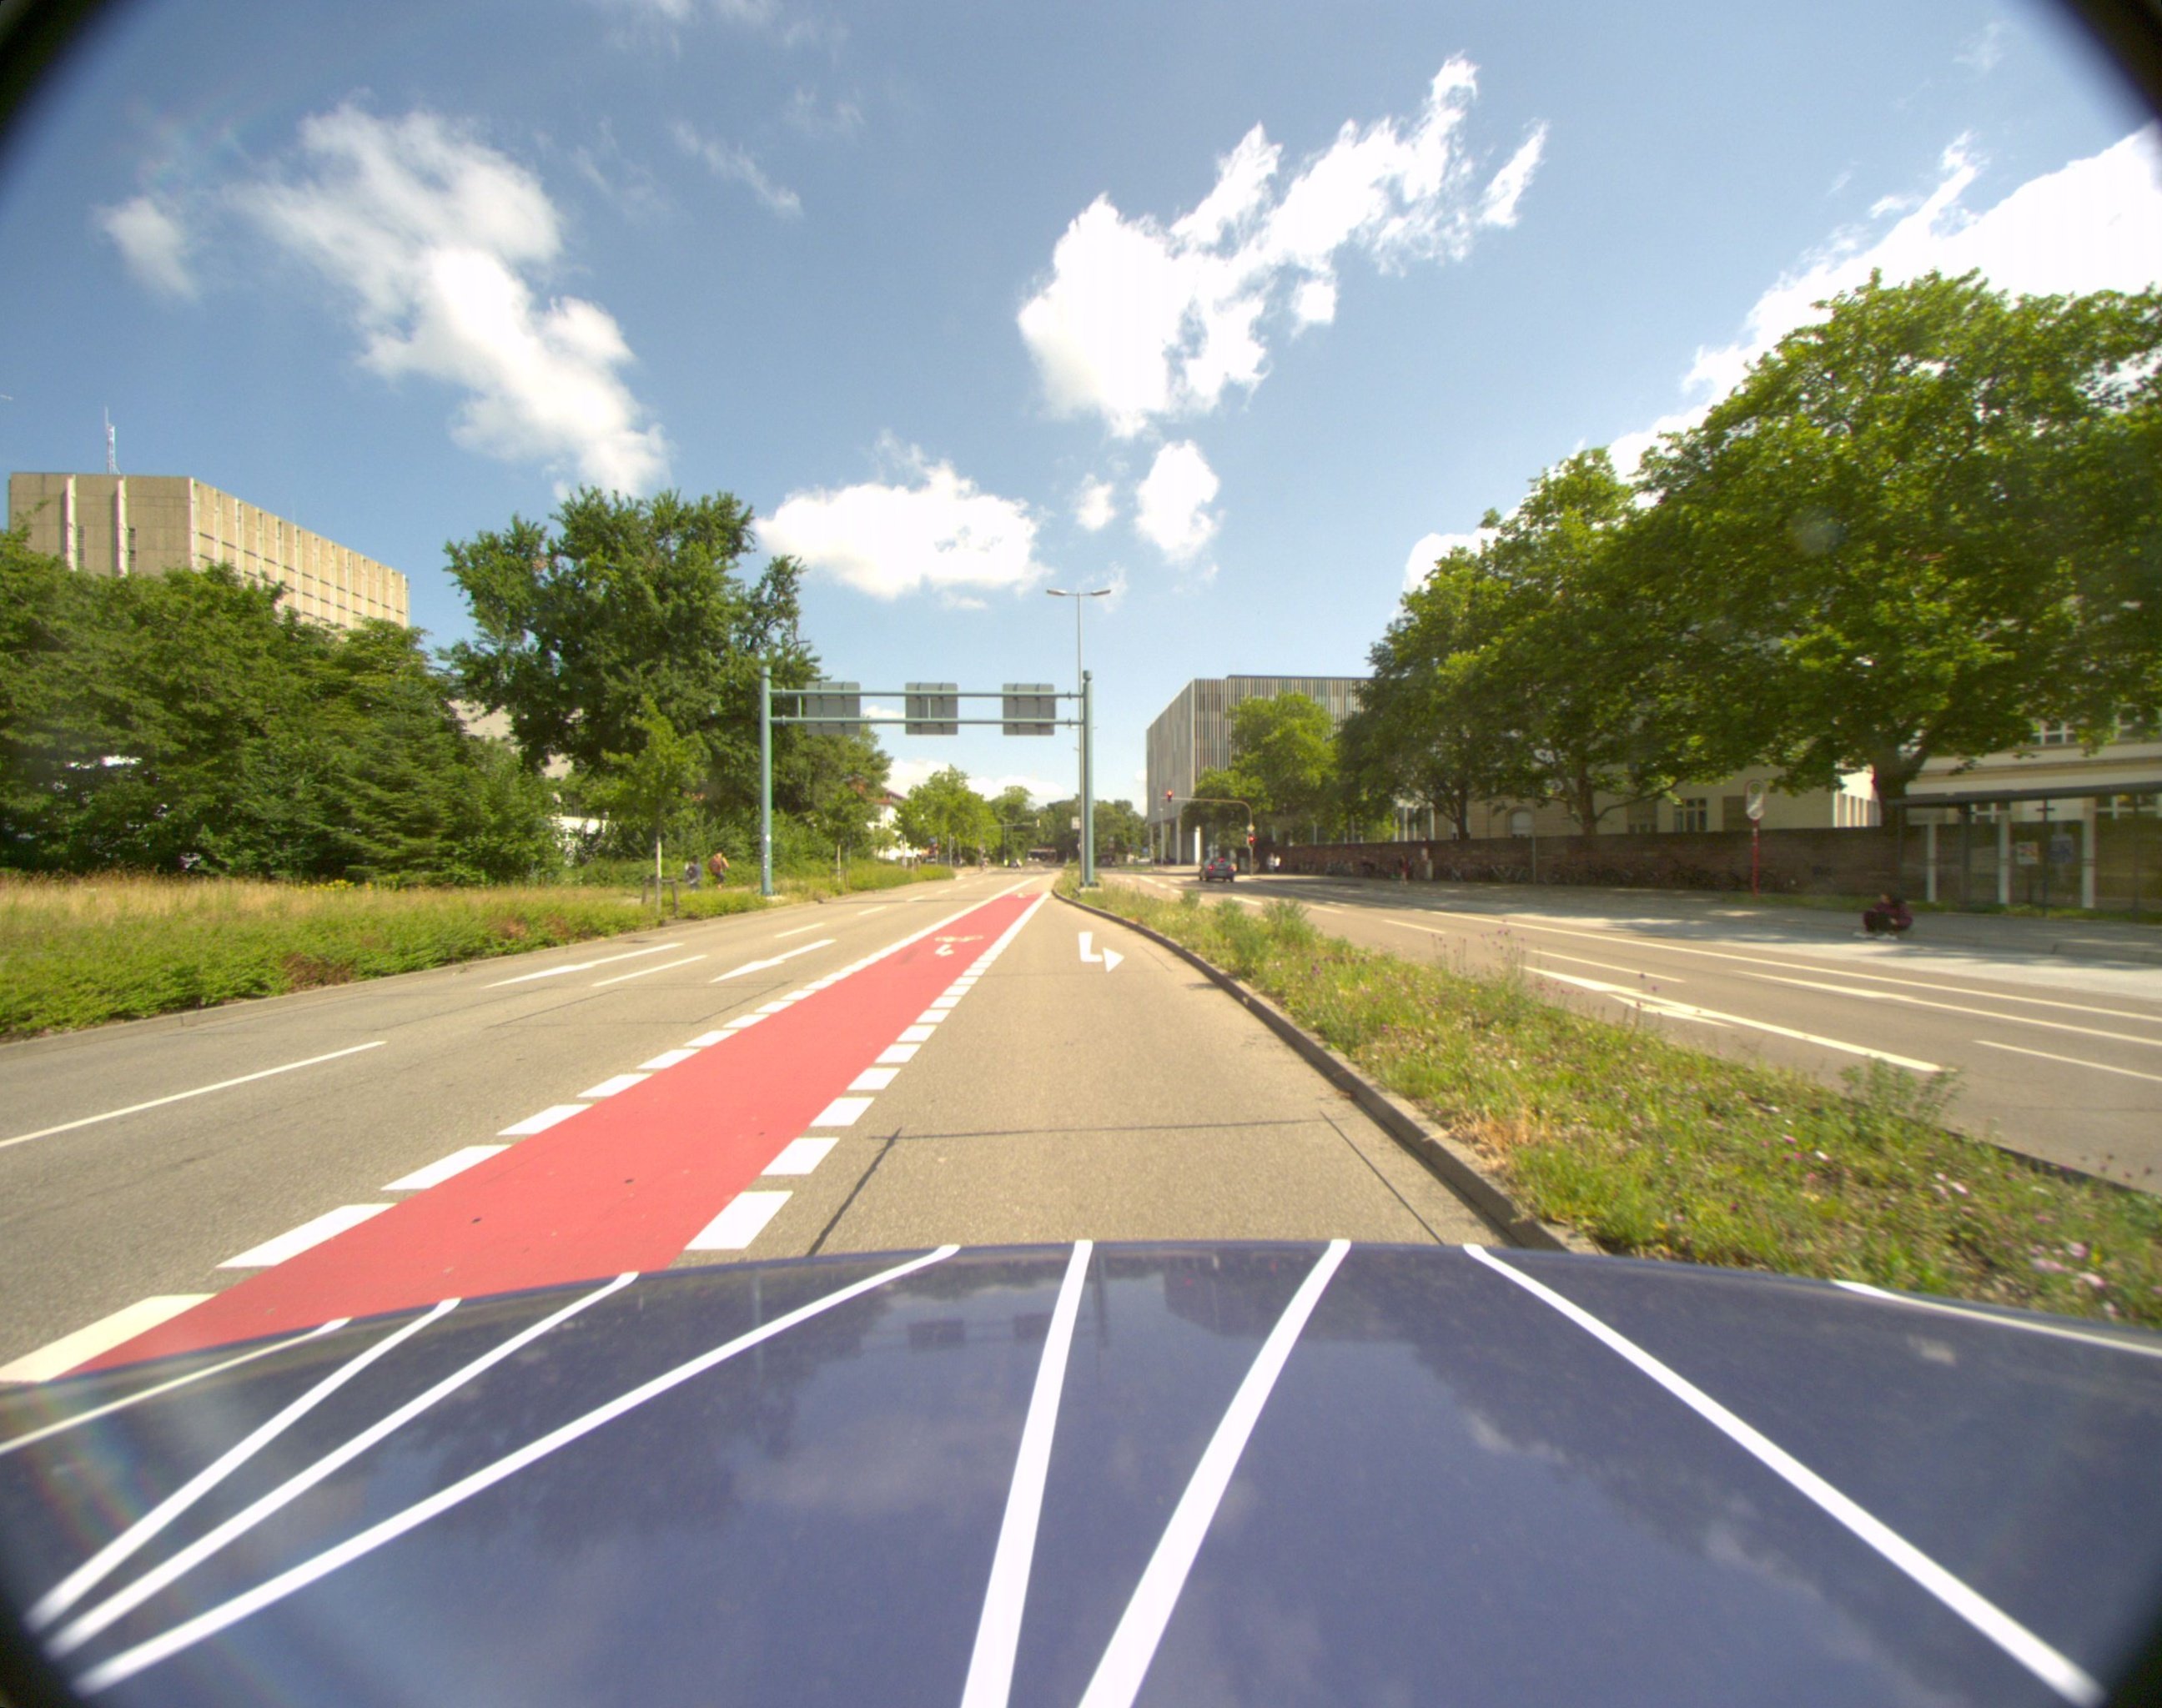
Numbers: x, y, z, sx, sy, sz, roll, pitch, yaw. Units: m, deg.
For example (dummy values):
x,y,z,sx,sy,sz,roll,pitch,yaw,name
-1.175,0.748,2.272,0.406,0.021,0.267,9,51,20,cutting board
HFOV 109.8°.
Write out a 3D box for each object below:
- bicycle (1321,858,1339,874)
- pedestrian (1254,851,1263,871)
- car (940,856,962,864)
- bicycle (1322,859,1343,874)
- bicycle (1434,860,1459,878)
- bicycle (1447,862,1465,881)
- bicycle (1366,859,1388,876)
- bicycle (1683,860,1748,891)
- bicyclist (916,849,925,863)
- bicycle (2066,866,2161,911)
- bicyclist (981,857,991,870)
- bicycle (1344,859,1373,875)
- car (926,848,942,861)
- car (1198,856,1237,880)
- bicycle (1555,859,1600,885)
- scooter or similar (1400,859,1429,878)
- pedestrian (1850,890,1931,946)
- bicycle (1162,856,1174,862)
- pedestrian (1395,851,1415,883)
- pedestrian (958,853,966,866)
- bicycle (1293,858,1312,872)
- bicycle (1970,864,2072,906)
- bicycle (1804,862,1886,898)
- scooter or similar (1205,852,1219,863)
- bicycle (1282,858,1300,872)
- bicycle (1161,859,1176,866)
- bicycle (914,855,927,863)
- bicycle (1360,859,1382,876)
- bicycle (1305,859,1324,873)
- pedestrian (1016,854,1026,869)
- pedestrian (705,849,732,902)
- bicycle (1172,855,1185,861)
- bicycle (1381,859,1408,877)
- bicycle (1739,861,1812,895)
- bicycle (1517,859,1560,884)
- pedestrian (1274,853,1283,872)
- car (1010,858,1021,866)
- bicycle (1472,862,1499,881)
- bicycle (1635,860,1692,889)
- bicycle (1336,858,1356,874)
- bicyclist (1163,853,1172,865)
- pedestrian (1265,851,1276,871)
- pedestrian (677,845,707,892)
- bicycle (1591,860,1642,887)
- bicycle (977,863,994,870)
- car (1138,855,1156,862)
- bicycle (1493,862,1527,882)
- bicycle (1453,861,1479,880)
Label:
x,y,z,sx,sy,sz,roll,pitch,yaw,name
17.562,0.831,53.581,0.371,1.042,1.879,-1,0,-10,bicycle
14.997,0.612,64.148,0.562,1.641,0.726,0,0,-6,pedestrian
-24.396,1.135,142.130,4.001,1.416,1.756,0,0,-11,car
17.234,0.841,52.105,0.594,1.042,1.879,-1,0,-10,bicycle
19.708,0.817,41.027,0.368,0.949,1.400,-1,0,-16,bicycle
19.439,0.883,39.414,0.367,0.949,1.626,-1,0,9,bicycle
18.539,0.822,47.587,0.395,1.042,1.879,-1,0,-10,bicycle
22.962,0.769,27.532,0.585,1.067,1.752,-1,0,-22,bicycle
-18.056,0.235,85.525,0.916,1.498,0.614,0,1,40,bicyclist
26.079,0.838,19.029,0.585,1.067,1.628,-1,0,-22,bicycle
-9.917,1.024,79.512,0.932,1.341,0.444,-1,1,-13,bicyclist
18.068,0.826,49.514,0.594,1.042,1.877,-1,0,-25,bicycle
-23.048,0.046,119.404,2.000,2.002,4.899,0,0,-7,car
8.666,0.852,48.539,1.705,1.436,4.145,1,0,0,car
21.483,0.755,32.903,0.631,1.070,1.651,-1,0,-16,bicycle
19.140,0.844,43.680,0.582,1.042,1.879,-1,0,-10,scooter or similar
14.919,1.174,14.017,0.696,0.957,0.743,-1,0,-1,pedestrian
16.824,0.963,146.733,2.218,1.090,0.722,0,0,-8,bicycle
16.379,0.654,38.376,0.658,1.600,0.744,-1,1,-1,pedestrian
-15.047,0.749,95.929,0.741,1.640,0.640,0,0,10,pedestrian
16.863,0.841,57.784,0.632,1.042,1.879,-1,0,-10,bicycle
25.427,0.811,20.588,0.585,1.067,1.628,-1,0,-22,bicycle
24.183,0.810,24.093,0.585,1.067,1.752,-1,0,-22,bicycle
14.956,0.404,86.689,1.505,1.150,0.502,0,0,-28,scooter or similar
16.507,0.879,59.858,0.632,1.042,1.879,-1,0,-10,bicycle
10.801,1.047,93.810,1.771,0.887,0.639,-1,0,31,bicycle
-18.089,0.570,85.561,1.510,0.828,0.621,0,0,39,bicycle
18.130,0.841,47.526,0.374,1.042,1.879,-1,0,-10,bicycle
17.151,0.859,55.842,0.566,1.042,1.879,-1,0,-10,bicycle
-7.391,0.888,93.609,0.700,1.815,0.944,3,1,42,pedestrian
-12.404,0.740,26.011,0.568,1.791,0.639,0,0,0,pedestrian
17.257,0.703,134.593,2.218,1.090,0.722,0,0,-8,bicycle
18.826,0.839,45.665,0.582,1.042,1.879,-1,0,-10,bicycle
23.524,0.795,25.788,0.585,1.067,1.752,-1,0,-22,bicycle
20.952,0.785,34.813,0.584,1.067,1.753,-1,0,-16,bicycle
15.755,0.691,60.545,0.477,1.531,0.616,0,0,-6,pedestrian
-11.569,1.423,134.140,1.709,1.321,3.998,2,0,-6,car
20.335,0.875,38.218,0.368,0.949,1.400,-1,0,-16,bicycle
22.463,0.785,29.340,0.584,1.067,1.753,-1,0,-17,bicycle
17.911,0.811,51.391,0.371,1.042,1.879,-1,0,-10,bicycle
10.713,0.655,93.855,0.944,1.456,0.633,0,0,31,bicyclist
15.046,0.548,60.467,0.643,1.641,0.731,0,0,-6,pedestrian
-13.207,0.486,25.807,0.624,1.571,0.708,0,0,0,pedestrian
21.980,0.778,31.225,0.584,1.067,1.753,-1,0,-16,bicycle
-9.966,1.316,79.511,1.757,0.771,0.444,-1,1,-13,bicycle
15.759,1.006,181.191,3.997,1.676,1.646,0,0,-1,car
20.639,0.850,36.588,0.371,0.949,1.625,-1,0,-16,bicycle
20.068,0.862,39.650,0.368,0.949,1.400,-1,0,-16,bicycle
